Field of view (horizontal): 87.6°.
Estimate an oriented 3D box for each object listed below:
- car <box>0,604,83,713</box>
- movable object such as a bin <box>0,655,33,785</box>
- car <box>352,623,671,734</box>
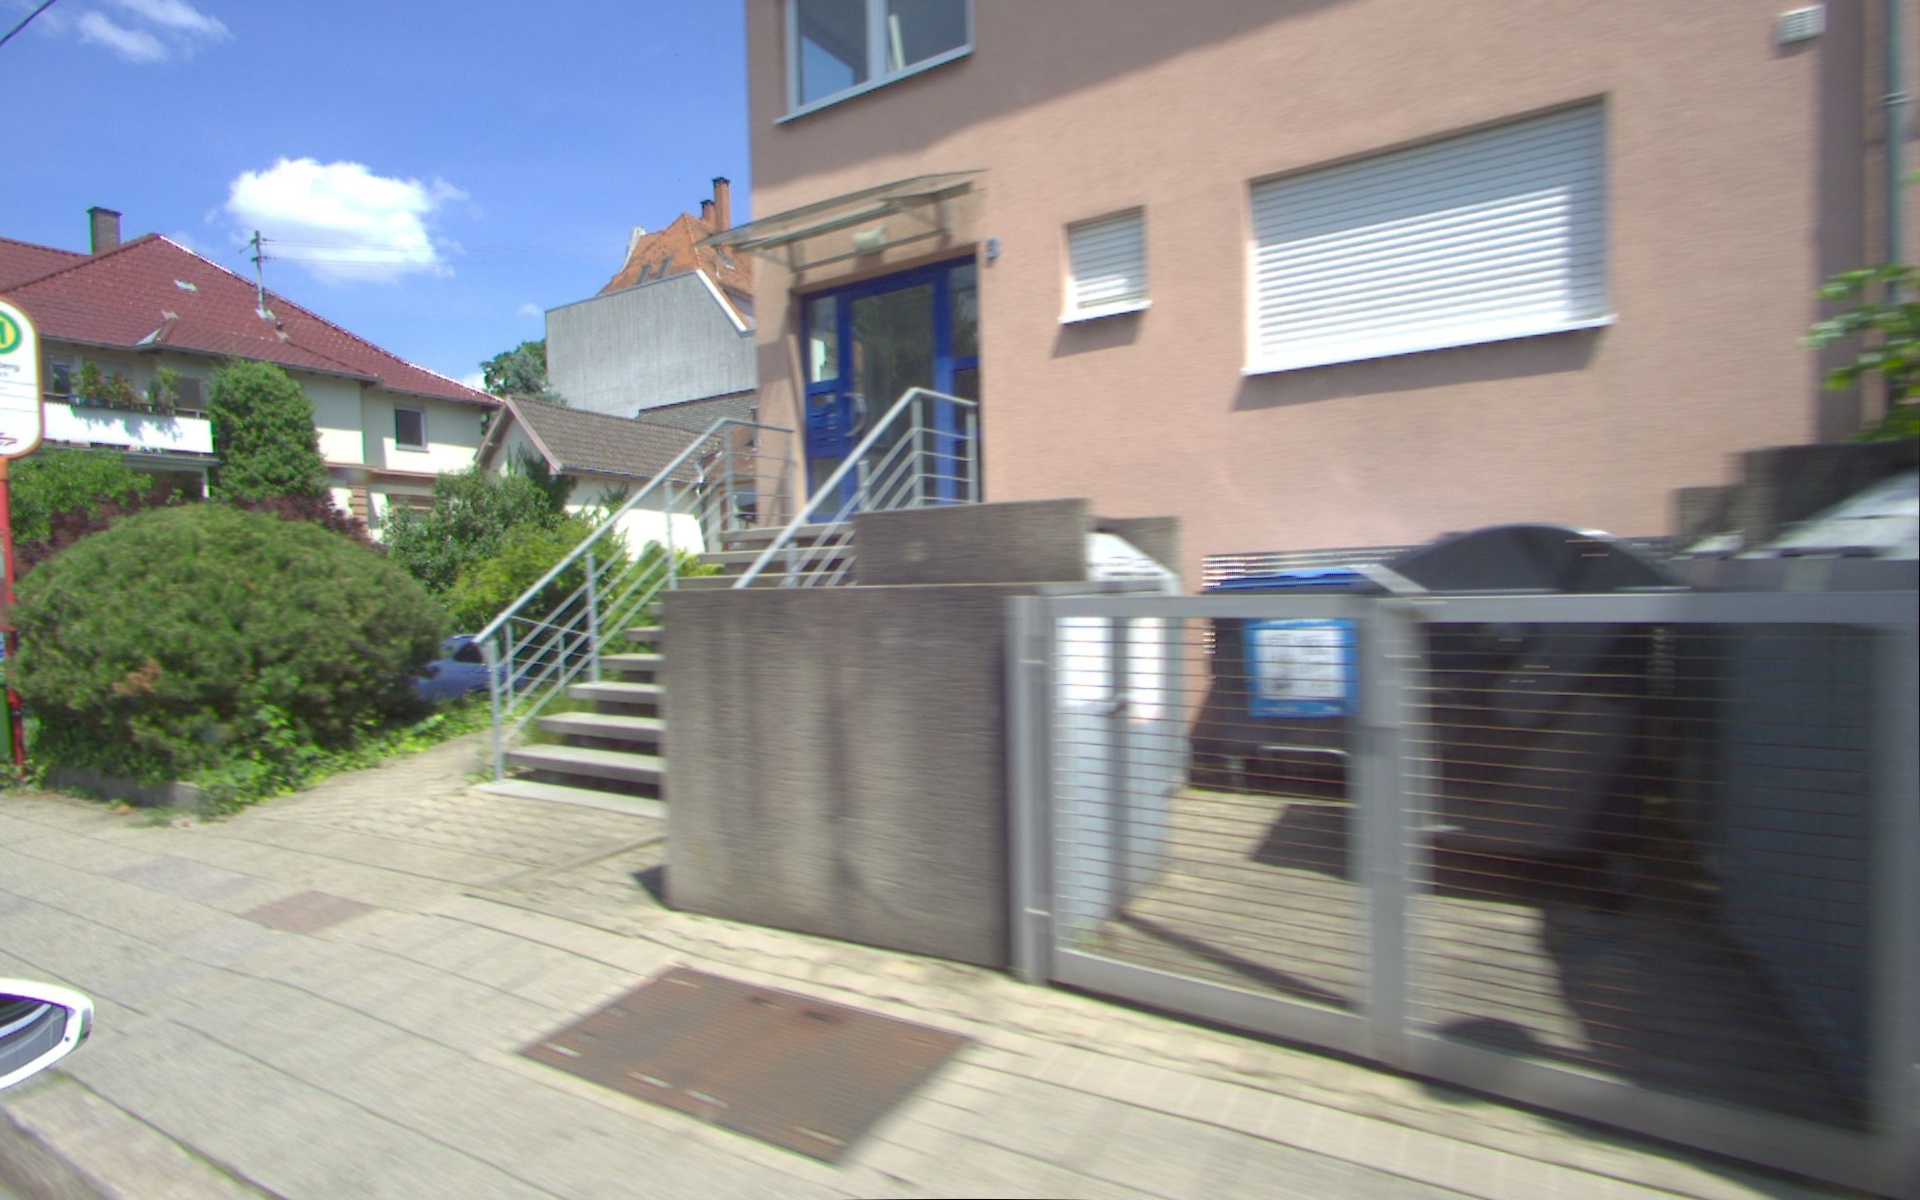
[{"bbox_3d":[-16.259,0.979,16.364,3.943,1.647,1.759,-3,-5,32],"label":"car"},{"bbox_3d":[-7.302,0.895,7.377,0.718,0.919,0.405,-2,4,29],"label":"movable object such as a bin"},{"bbox_3d":[-6.625,1.218,15.236,1.698,1.442,4.128,-1,-5,33],"label":"car"}]
